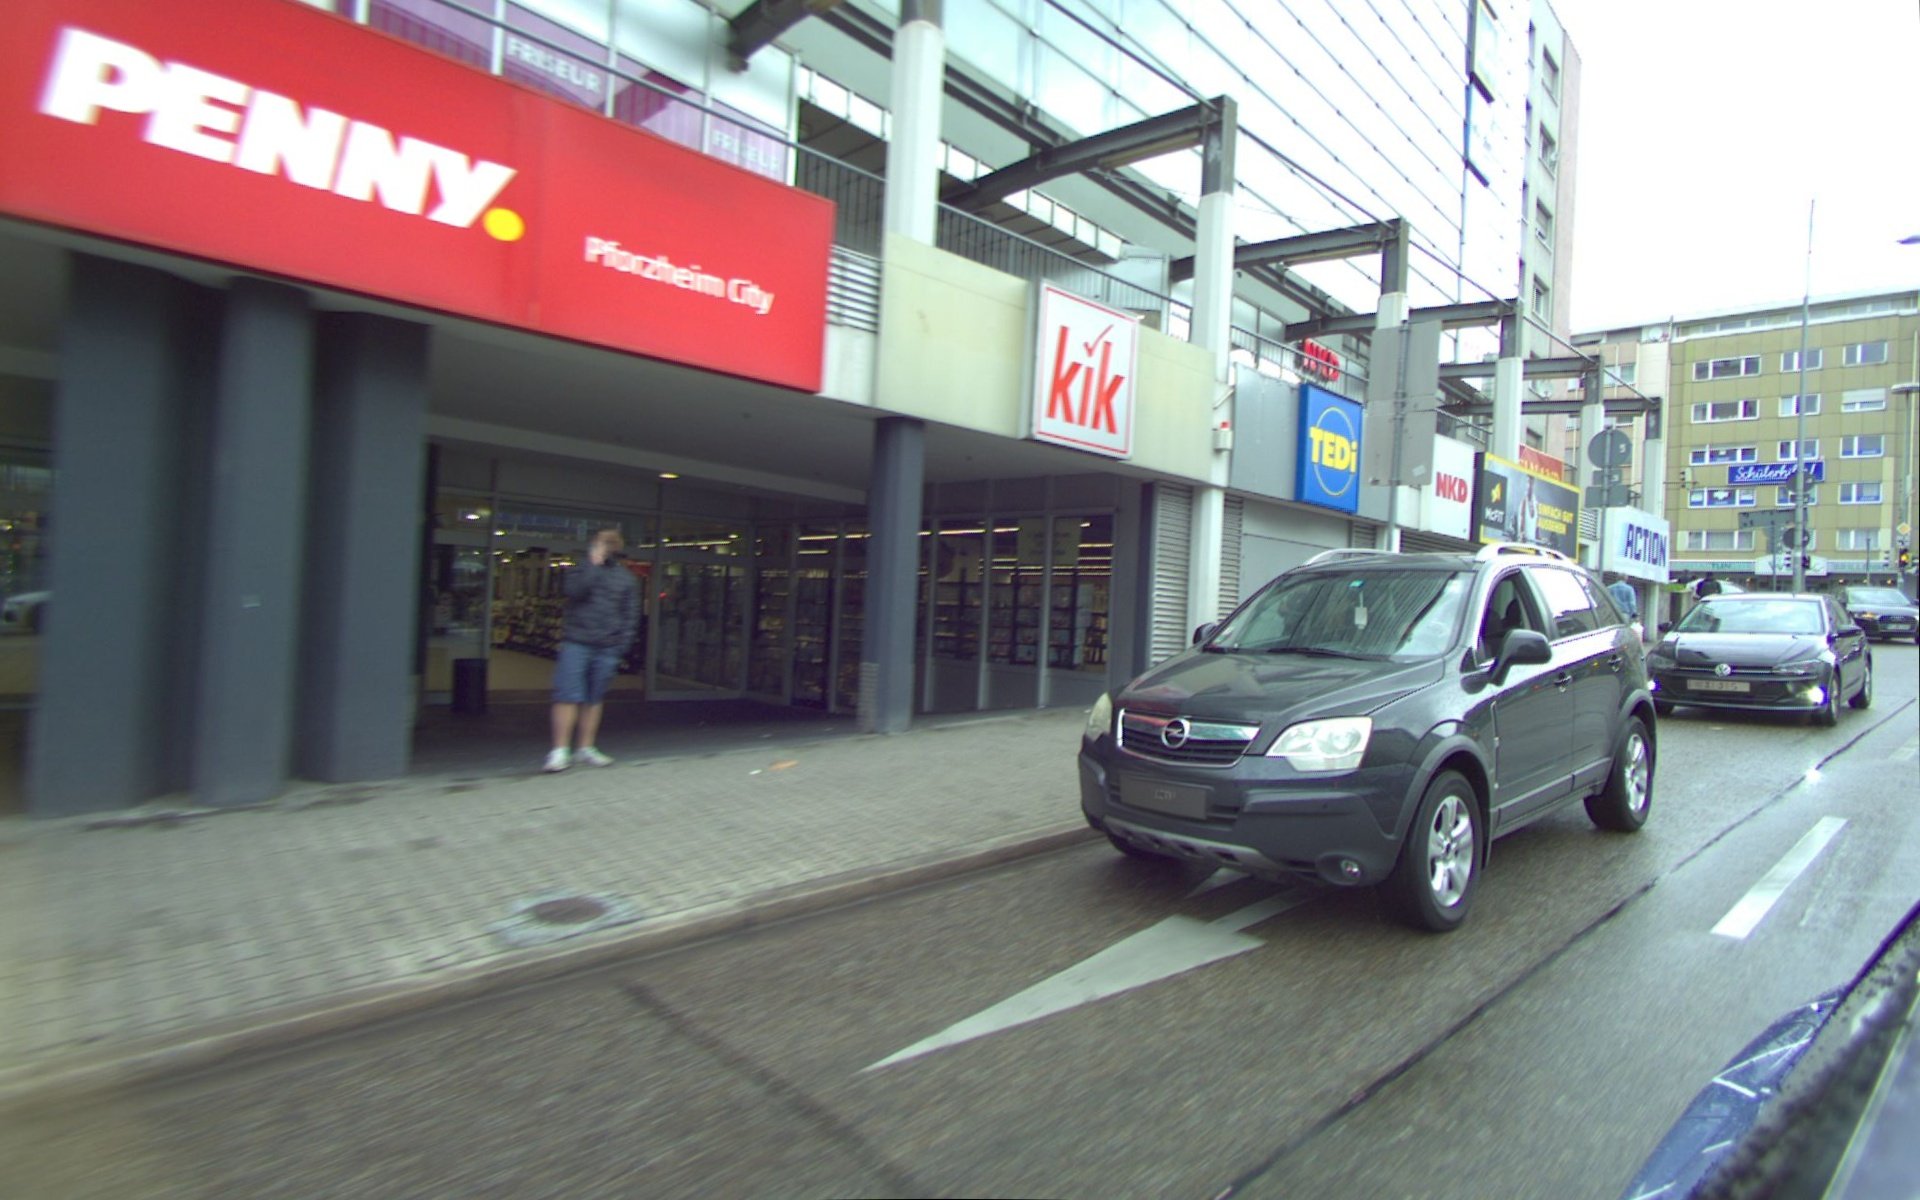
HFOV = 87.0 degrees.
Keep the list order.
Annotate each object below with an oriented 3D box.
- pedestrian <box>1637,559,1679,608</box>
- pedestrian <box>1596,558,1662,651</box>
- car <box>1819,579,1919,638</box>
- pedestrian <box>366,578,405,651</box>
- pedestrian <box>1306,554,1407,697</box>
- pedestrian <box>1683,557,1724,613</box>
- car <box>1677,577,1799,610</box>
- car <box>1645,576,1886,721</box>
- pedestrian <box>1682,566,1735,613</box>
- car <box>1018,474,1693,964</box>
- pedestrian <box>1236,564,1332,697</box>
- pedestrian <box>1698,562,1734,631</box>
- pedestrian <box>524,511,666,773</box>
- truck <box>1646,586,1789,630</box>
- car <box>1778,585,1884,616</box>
[{"bbox_3d":[26.199,-0.616,37.970,1.018,1.744,0.839,4,0,-29],"label":"pedestrian"},{"bbox_3d":[12.941,0.079,19.586,0.606,1.744,0.839,1,2,-34],"label":"pedestrian"},{"bbox_3d":[26.561,0.213,29.094,1.854,1.566,4.066,2,2,26],"label":"car"},{"bbox_3d":[-14.018,0.357,24.704,0.627,1.740,0.770,3,-2,-40],"label":"pedestrian"},{"bbox_3d":[4.267,0.250,10.916,0.586,1.455,0.749,1,3,-34],"label":"pedestrian"},{"bbox_3d":[26.997,-0.548,36.749,0.605,1.889,0.789,6,3,-30],"label":"pedestrian"},{"bbox_3d":[38.845,-0.339,50.605,4.618,1.433,1.769,3,1,44],"label":"car"},{"bbox_3d":[9.725,0.524,12.115,3.815,1.449,1.739,1,-2,-44],"label":"car"},{"bbox_3d":[26.364,-0.394,35.675,1.042,1.550,1.024,4,3,11],"label":"pedestrian"},{"bbox_3d":[2.510,0.468,5.869,4.226,1.808,1.910,1,-2,-41],"label":"car"},{"bbox_3d":[3.810,0.334,11.912,0.690,1.485,0.775,1,2,-34],"label":"pedestrian"},{"bbox_3d":[21.124,-0.098,28.272,0.599,1.863,0.996,3,1,44],"label":"pedestrian"},{"bbox_3d":[-2.608,0.260,7.215,0.660,1.736,0.816,0,2,-44],"label":"pedestrian"},{"bbox_3d":[28.886,0.270,38.719,1.817,1.560,4.008,0,1,-24],"label":"truck"},{"bbox_3d":[48.908,-0.015,56.866,4.387,1.570,1.824,2,2,44],"label":"car"}]
